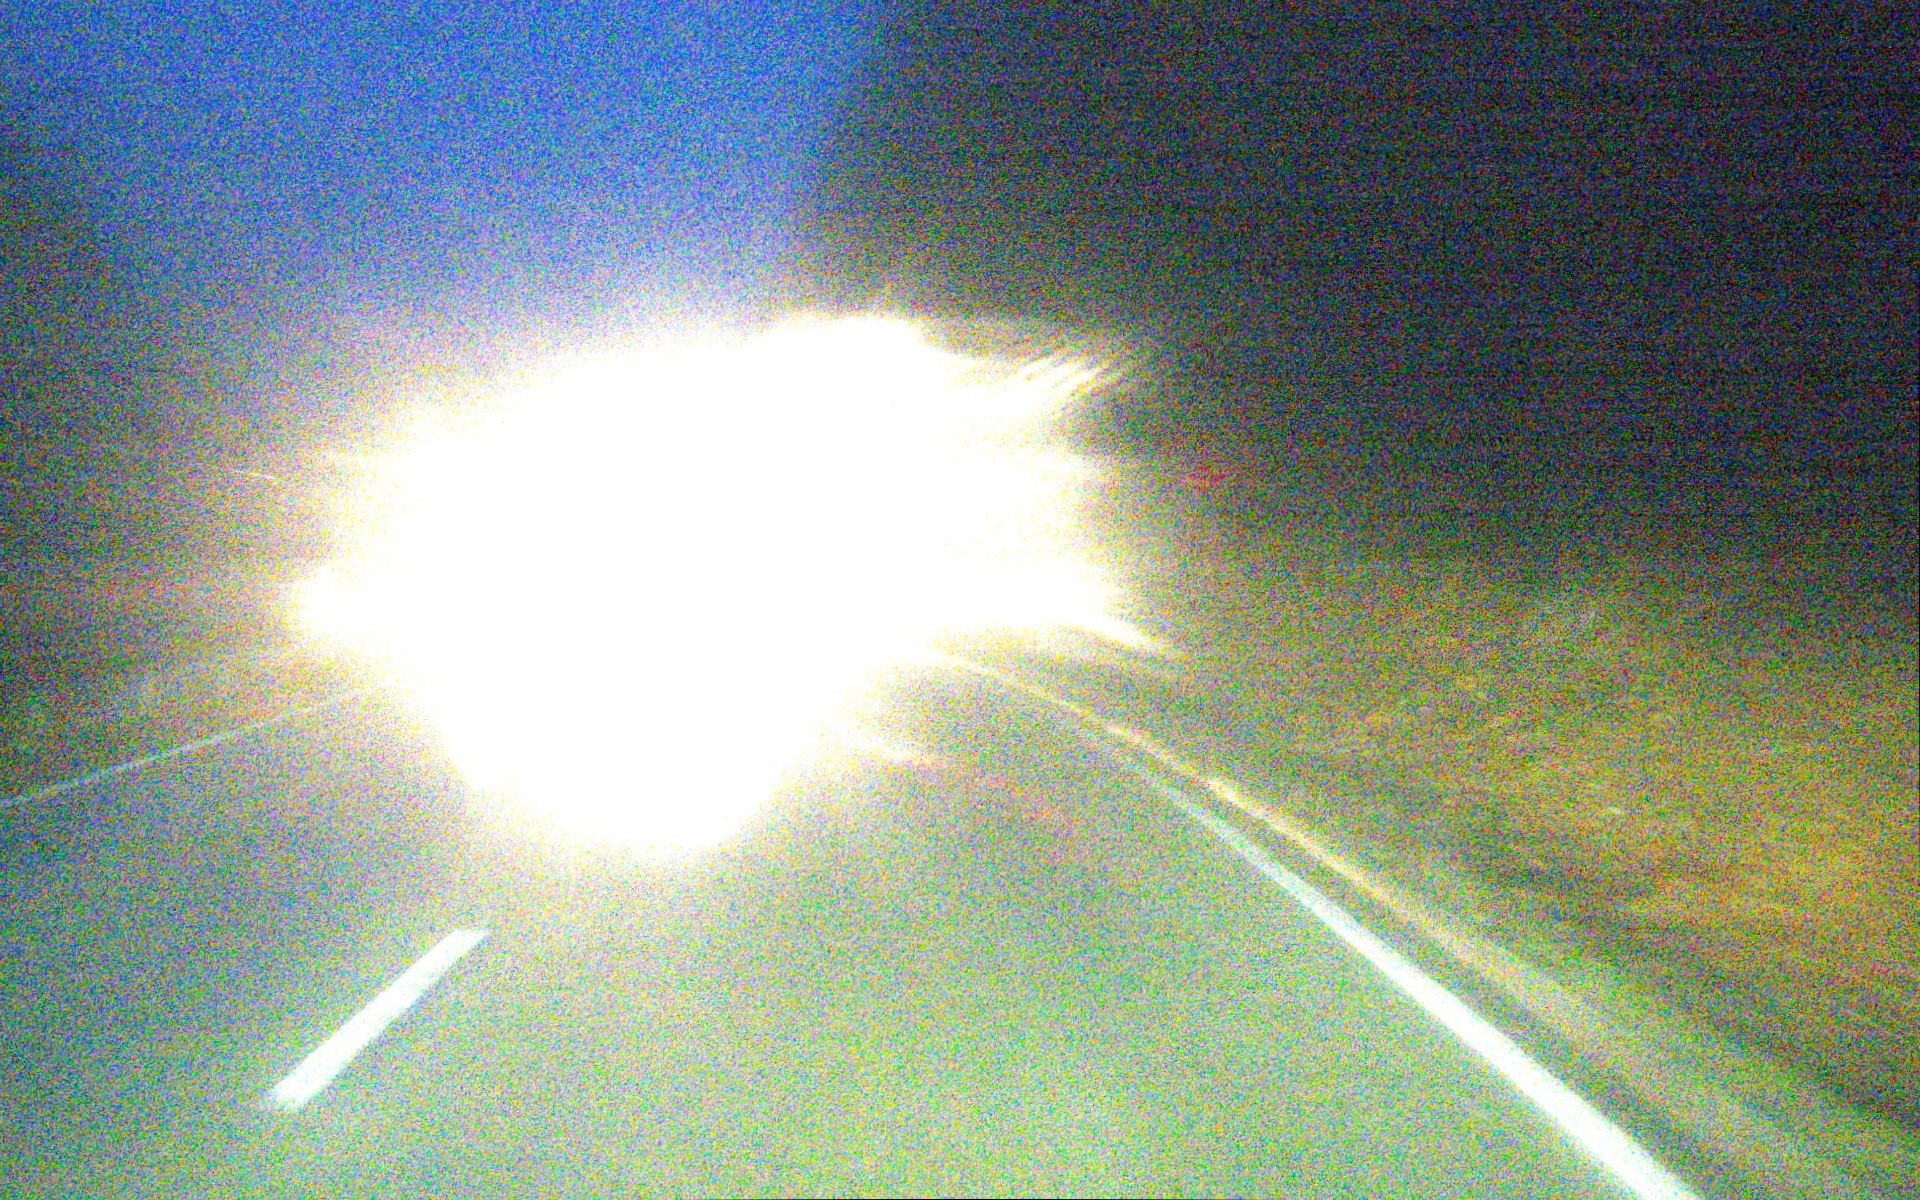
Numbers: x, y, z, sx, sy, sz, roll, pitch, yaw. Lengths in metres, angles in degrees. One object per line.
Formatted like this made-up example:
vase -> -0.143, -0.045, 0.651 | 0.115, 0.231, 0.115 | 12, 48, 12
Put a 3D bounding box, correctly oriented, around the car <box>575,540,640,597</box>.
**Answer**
car -> -10.264, -0.939, 100.233 | 1.721, 1.607, 4.003 | 1, 1, -4
